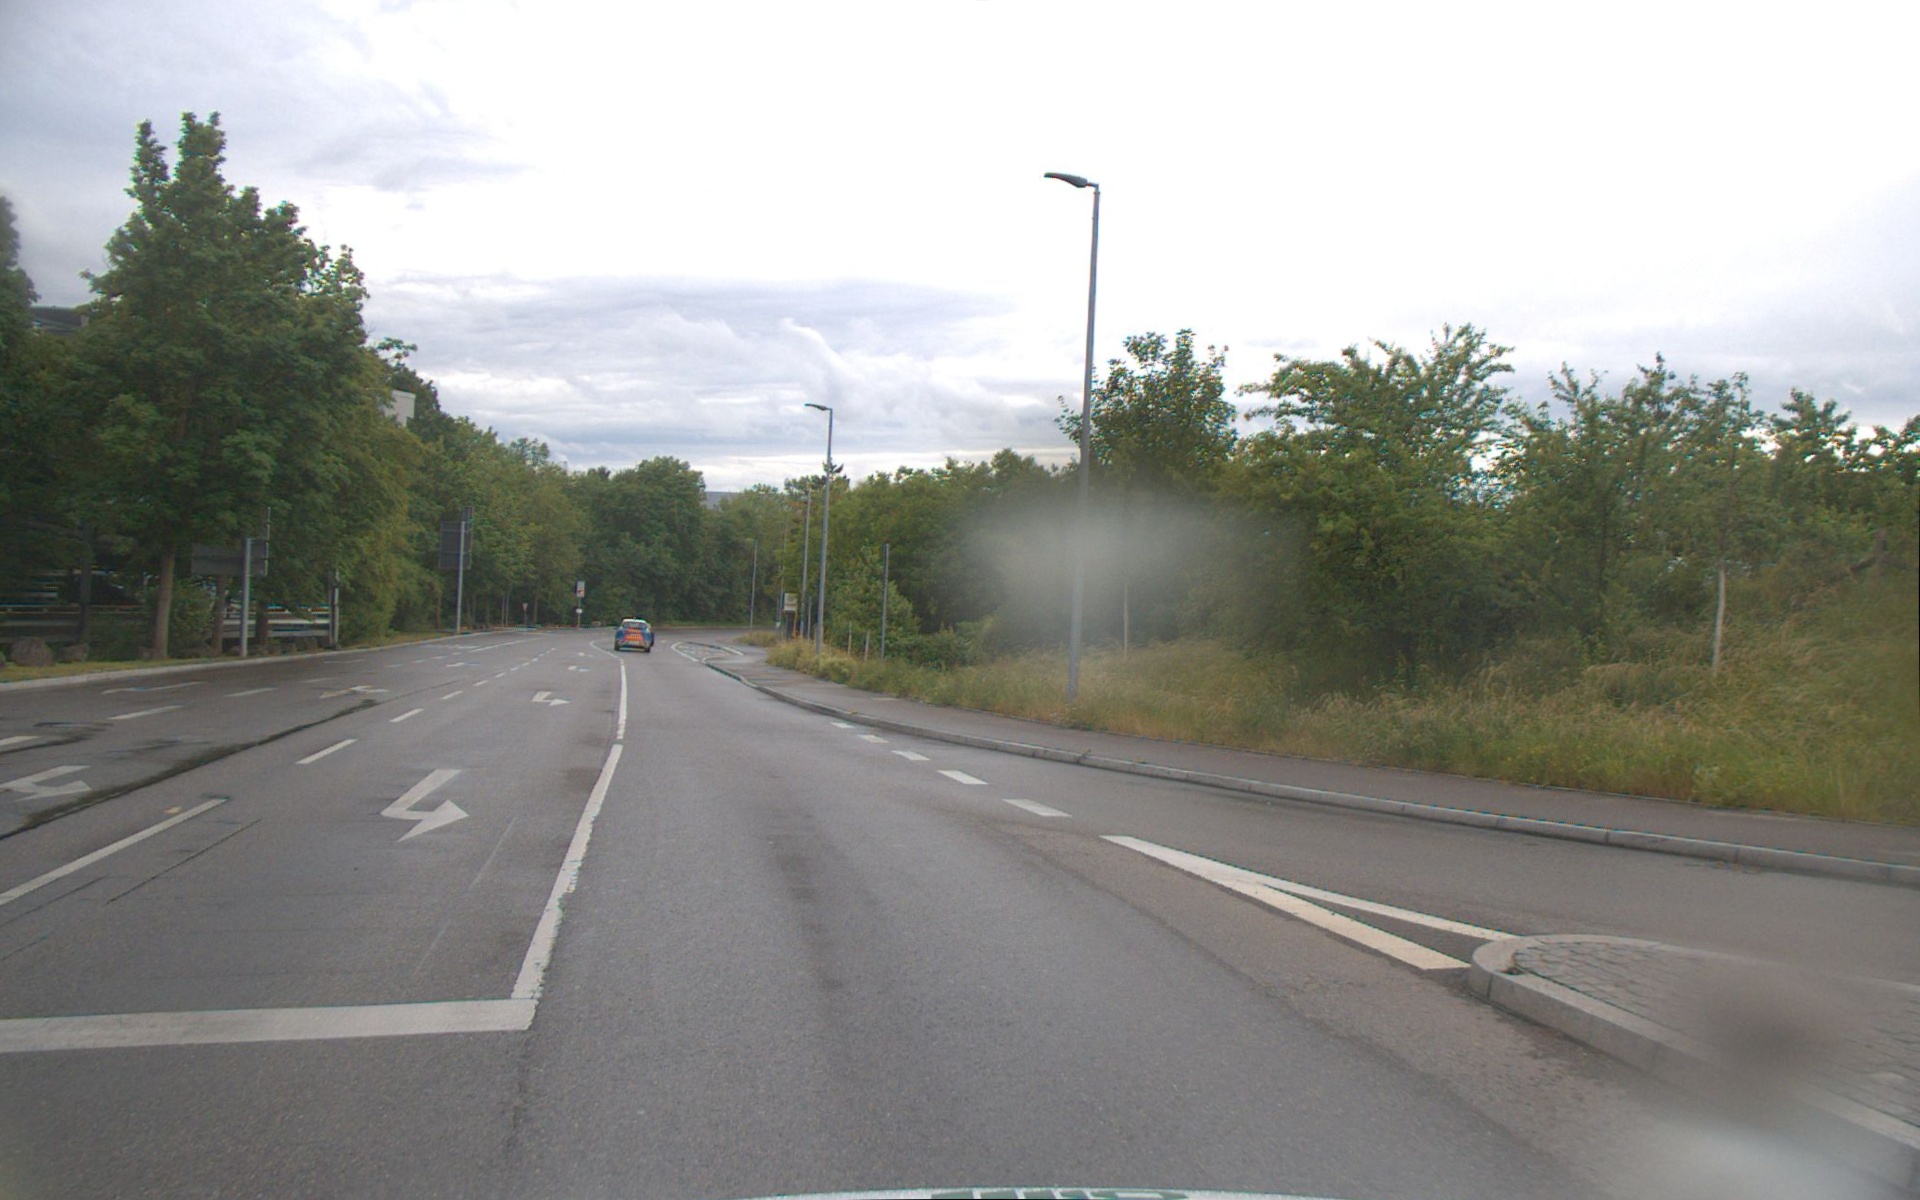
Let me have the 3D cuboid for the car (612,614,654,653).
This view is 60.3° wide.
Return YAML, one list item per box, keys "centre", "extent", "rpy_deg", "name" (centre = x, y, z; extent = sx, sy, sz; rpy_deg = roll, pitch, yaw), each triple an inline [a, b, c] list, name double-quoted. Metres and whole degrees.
- centre: [-16.179, 1.647, 81.914]
  extent: [1.958, 1.718, 3.990]
  rpy_deg: [2, 1, -11]
  name: "car"

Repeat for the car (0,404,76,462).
- centre: [-30.624, -5.381, 52.766]
  extent: [3.904, 1.545, 2.001]
  rpy_deg: [5, 0, 16]
  name: "car"

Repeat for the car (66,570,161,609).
- centre: [-37.244, -0.462, 72.834]
  extent: [3.389, 1.545, 1.587]
  rpy_deg: [2, -1, 10]
  name: "car"

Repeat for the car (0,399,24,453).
- centre: [-31.117, -5.377, 50.752]
  extent: [3.903, 1.546, 2.001]
  rpy_deg: [1, -1, 16]
  name: "car"

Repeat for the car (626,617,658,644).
- centre: [-19.504, 1.854, 101.364]
  extent: [1.893, 1.512, 3.789]
  rpy_deg: [2, 1, -11]
  name: "car"
